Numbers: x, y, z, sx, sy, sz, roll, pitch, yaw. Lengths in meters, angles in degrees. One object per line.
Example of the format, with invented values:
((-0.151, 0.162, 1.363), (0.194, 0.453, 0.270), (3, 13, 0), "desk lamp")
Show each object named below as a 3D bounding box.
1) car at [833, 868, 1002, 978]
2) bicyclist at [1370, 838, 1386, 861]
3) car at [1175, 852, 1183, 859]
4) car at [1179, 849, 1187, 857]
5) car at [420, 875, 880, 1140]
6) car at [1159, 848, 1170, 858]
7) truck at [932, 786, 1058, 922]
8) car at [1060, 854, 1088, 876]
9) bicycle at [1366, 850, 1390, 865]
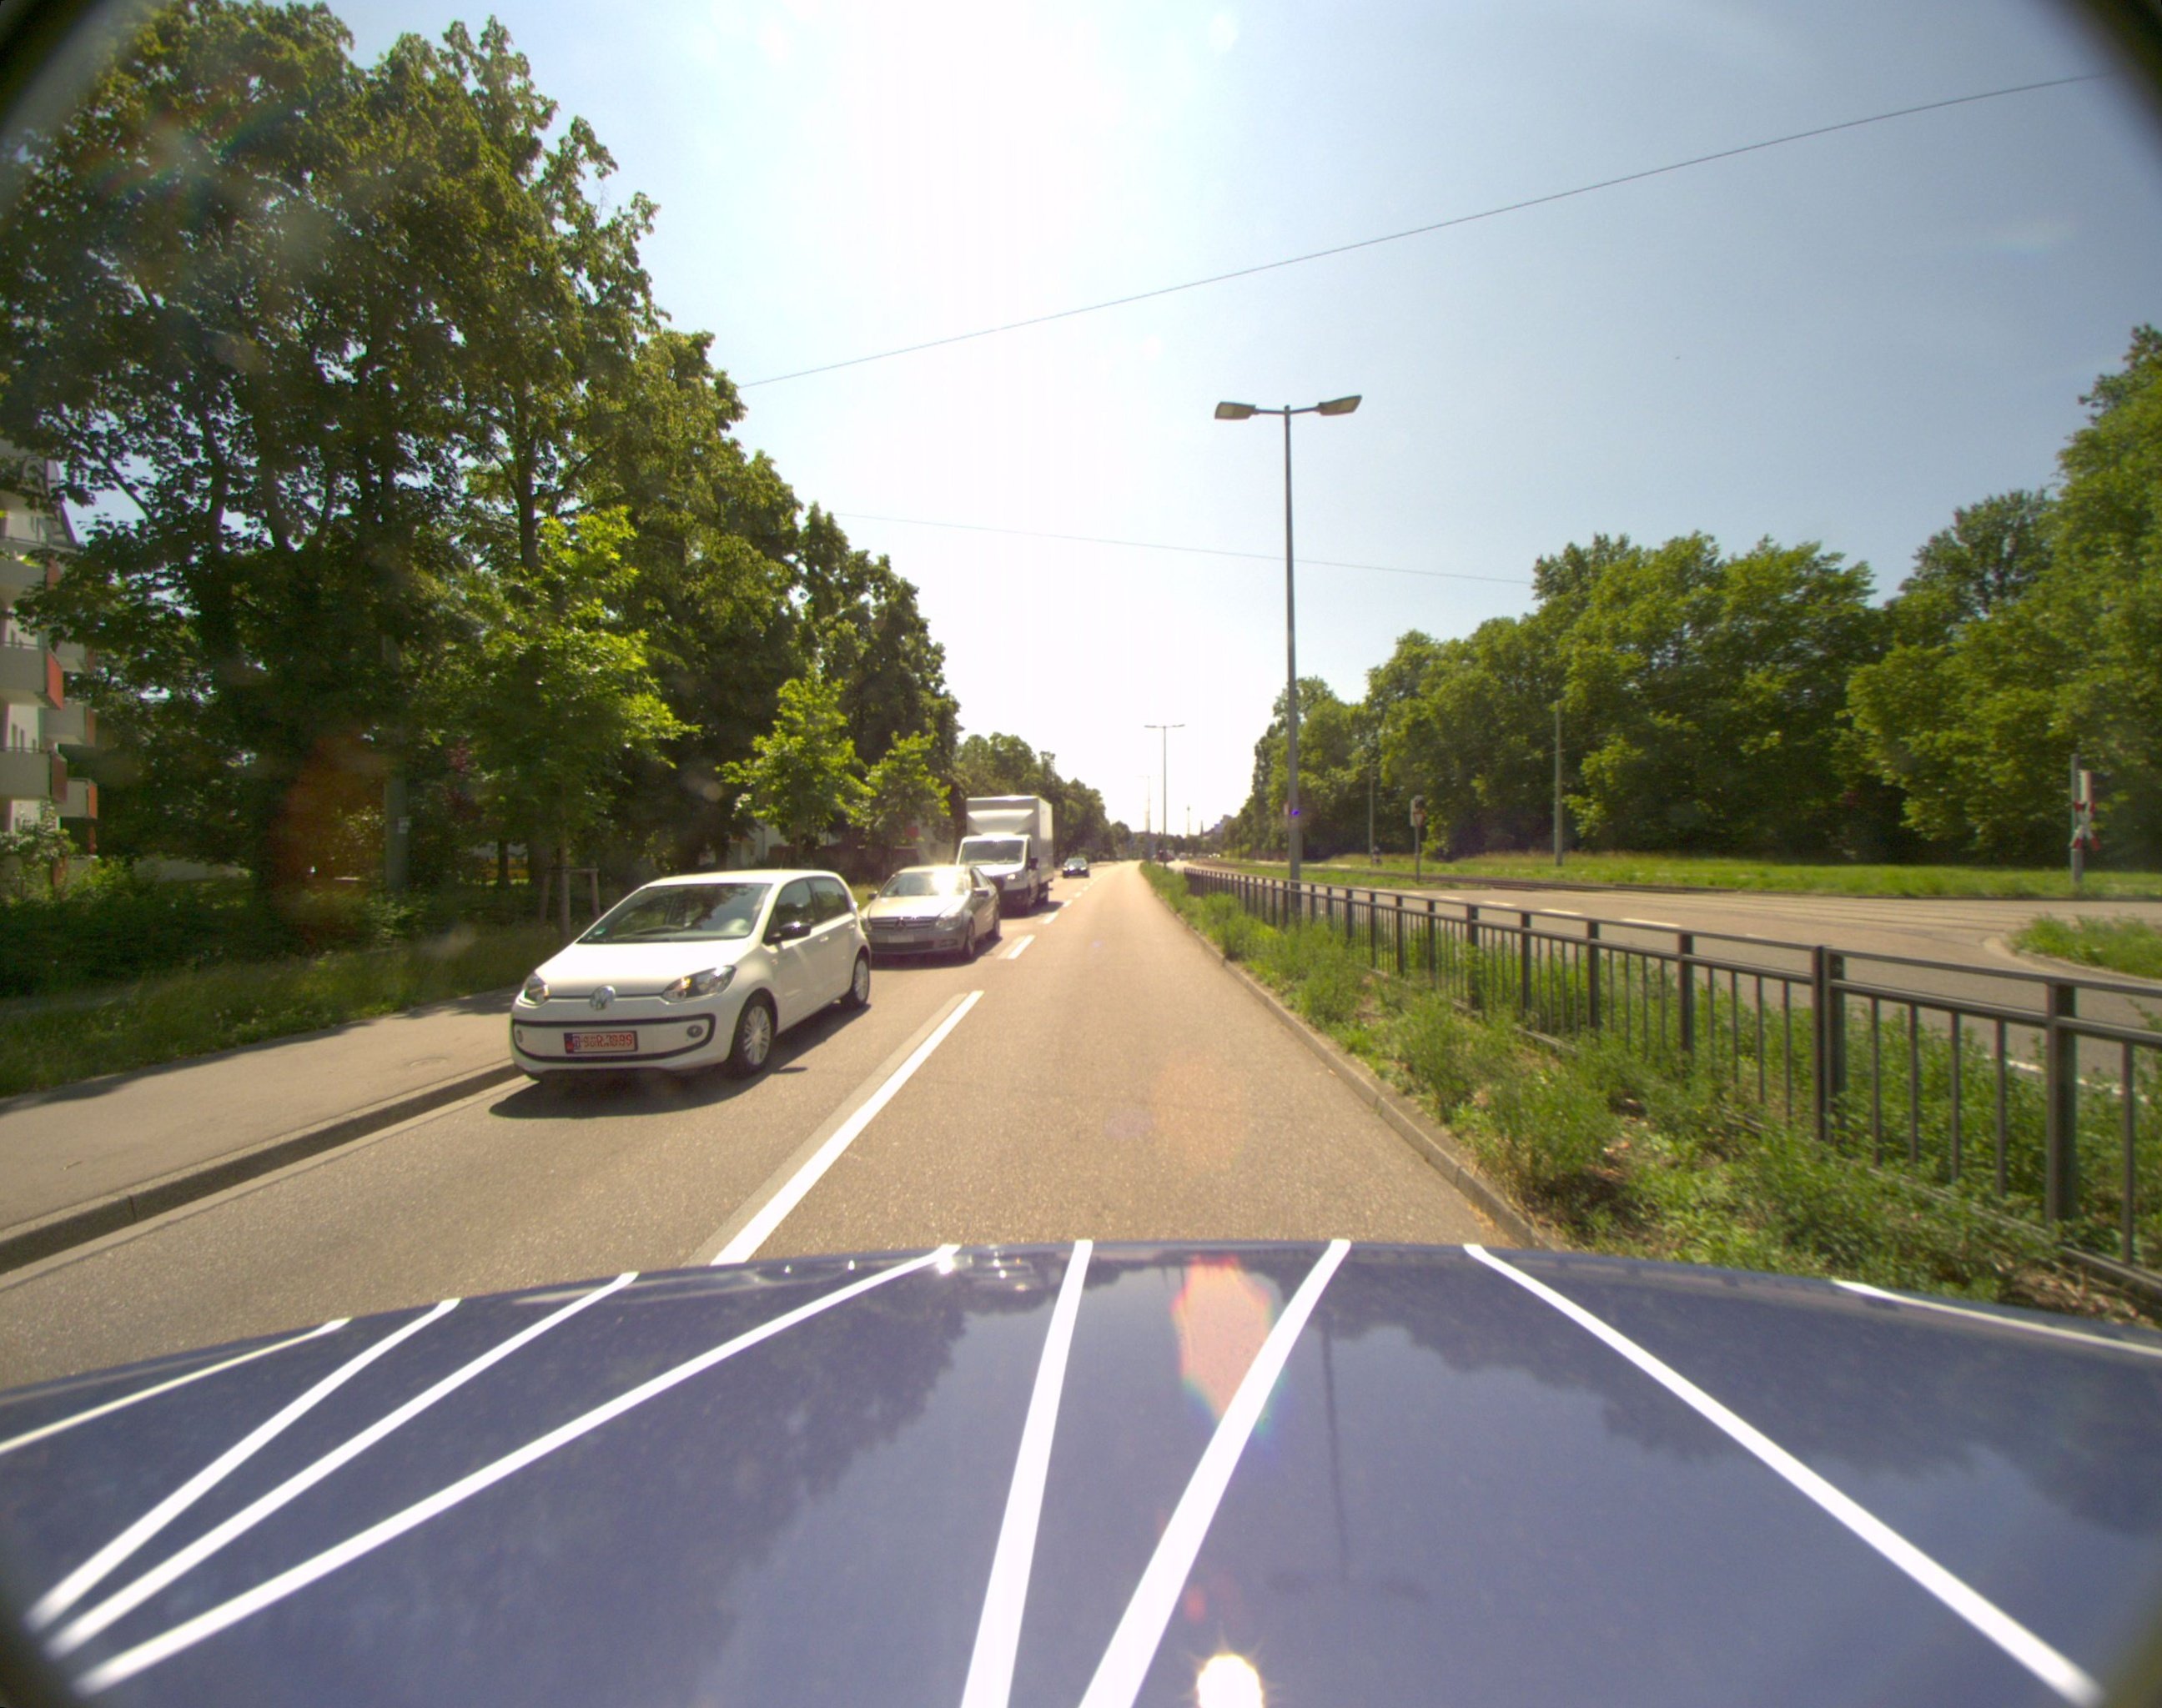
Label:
((-2.471, 0.988, 12.535), (1.840, 1.400, 4.087), (-1, 0, 1), "car")
((24.036, -0.349, 61.528), (0.862, 1.796, 1.118), (-1, 1, 1), "bicyclist")
((26.782, 0.317, 207.337), (1.998, 1.847, 4.001), (-1, 0, 5), "car")
((26.896, -0.263, 200.018), (1.998, 1.847, 4.001), (-1, 0, 5), "car")
((-3.123, 0.990, 6.514), (1.730, 1.470, 3.771), (-1, 0, 1), "car")
((16.710, -0.171, 151.936), (1.997, 1.847, 4.002), (-1, 0, 7), "car")
((-2.266, -0.009, 22.843), (2.433, 3.326, 7.923), (-1, 0, 3), "truck")
((-0.472, 0.796, 55.794), (1.998, 1.499, 4.000), (-1, 0, 1), "car")
((24.025, 0.258, 61.589), (0.862, 1.155, 2.787), (-1, 0, 1), "bicycle")
